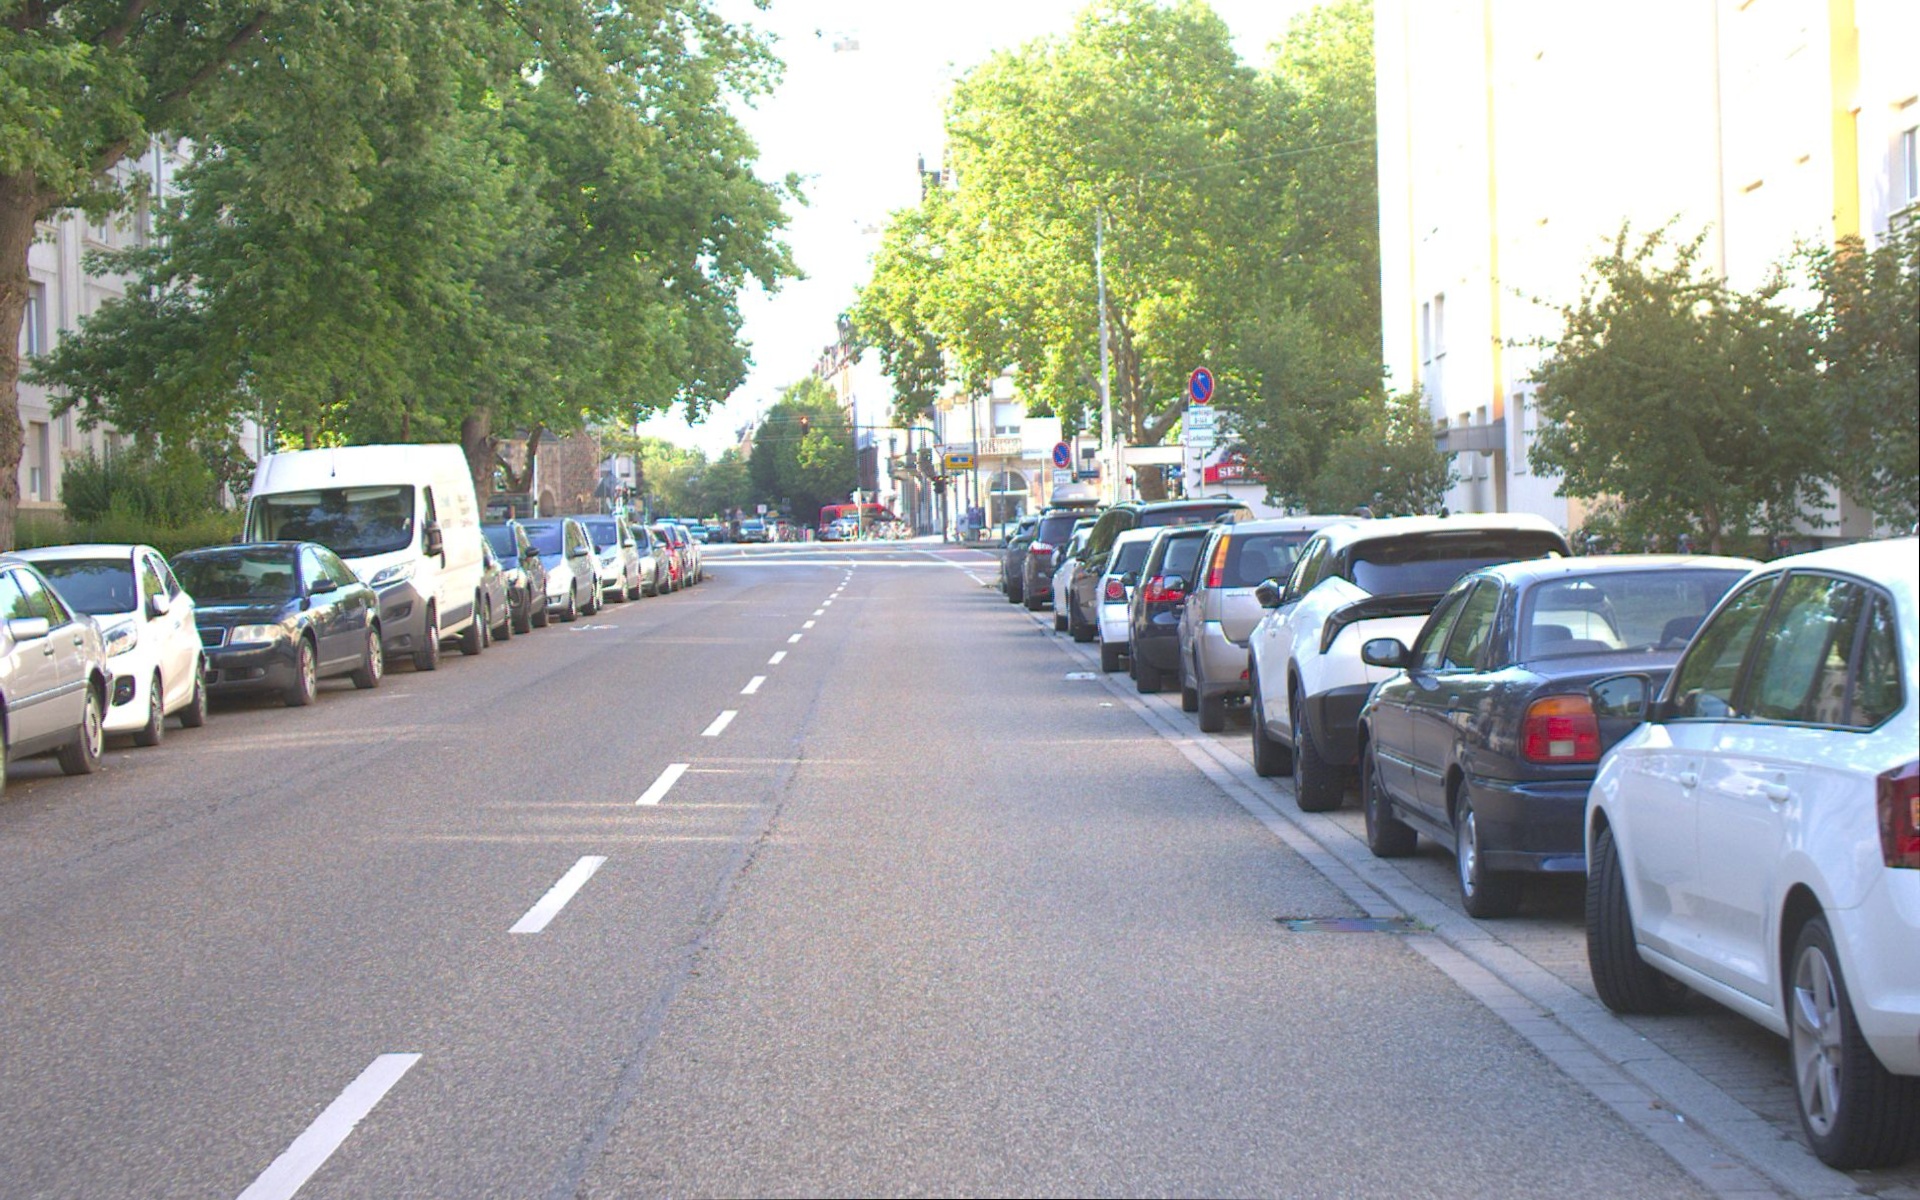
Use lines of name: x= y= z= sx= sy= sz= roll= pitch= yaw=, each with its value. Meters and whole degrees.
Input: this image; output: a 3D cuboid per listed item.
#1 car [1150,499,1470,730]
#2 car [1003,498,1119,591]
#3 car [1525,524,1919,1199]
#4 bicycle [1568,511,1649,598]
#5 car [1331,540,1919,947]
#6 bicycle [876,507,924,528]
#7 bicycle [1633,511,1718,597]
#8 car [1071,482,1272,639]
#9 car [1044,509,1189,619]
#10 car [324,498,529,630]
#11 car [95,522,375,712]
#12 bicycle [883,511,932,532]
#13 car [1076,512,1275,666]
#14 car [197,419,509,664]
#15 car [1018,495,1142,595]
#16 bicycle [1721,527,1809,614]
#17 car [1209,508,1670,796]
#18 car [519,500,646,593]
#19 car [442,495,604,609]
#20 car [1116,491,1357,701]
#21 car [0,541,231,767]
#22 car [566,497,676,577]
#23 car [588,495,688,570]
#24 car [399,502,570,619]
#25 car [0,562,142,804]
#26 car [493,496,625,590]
car: x=2.597 y=0.090 z=26.499 sx=1.962 sy=1.600 sz=4.279 roll=1 pitch=0 yaw=-1
car: x=1.859 y=-1.019 z=64.439 sx=1.927 sy=1.653 sz=4.678 roll=1 pitch=0 yaw=-1
car: x=2.795 y=0.512 z=9.238 sx=1.771 sy=1.449 sz=4.000 roll=-3 pitch=0 yaw=-1
bicycle: x=8.744 y=-0.628 z=46.452 sx=0.600 sy=1.078 sz=2.393 roll=-1 pitch=3 yaw=-1
car: x=2.669 y=0.503 z=14.490 sx=1.661 sy=1.433 sz=4.313 roll=1 pitch=0 yaw=-1
bicycle: x=-3.576 y=-4.898 z=204.767 sx=2.802 sy=1.199 sz=0.517 roll=1 pitch=0 yaw=-8
bicycle: x=9.658 y=-0.633 z=46.455 sx=0.600 sy=1.078 sz=2.393 roll=-1 pitch=3 yaw=-1
car: x=2.478 y=-0.462 z=41.468 sx=2.024 sy=1.744 sz=4.767 roll=1 pitch=0 yaw=-1
car: x=2.093 y=-0.484 z=47.094 sx=1.679 sy=1.410 sz=4.724 roll=1 pitch=0 yaw=-1
car: x=-6.688 y=-0.441 z=43.507 sx=1.957 sy=1.553 sz=4.346 roll=1 pitch=0 yaw=-1
car: x=-6.413 y=0.129 z=30.790 sx=1.707 sy=1.568 sz=3.819 roll=1 pitch=0 yaw=-1
bicycle: x=-3.112 y=-4.640 z=203.094 sx=2.802 sy=1.199 sz=0.510 roll=1 pitch=0 yaw=-7
car: x=2.215 y=-0.119 z=36.231 sx=1.837 sy=1.496 sz=4.172 roll=1 pitch=0 yaw=0
car: x=-6.546 y=-0.611 z=37.848 sx=2.358 sy=2.437 sz=6.165 roll=1 pitch=0 yaw=-1
car: x=2.042 y=-0.972 z=59.543 sx=1.897 sy=1.645 sz=4.343 roll=-1 pitch=1 yaw=-1
bicycle: x=10.911 y=-0.415 z=46.665 sx=0.600 sy=1.078 sz=2.393 roll=-1 pitch=3 yaw=-1
car: x=2.593 y=0.254 z=19.528 sx=1.873 sy=1.437 sz=4.000 roll=1 pitch=0 yaw=-2
car: x=-7.146 y=-0.999 z=65.471 sx=1.916 sy=1.672 sz=4.974 roll=1 pitch=0 yaw=-1
car: x=-6.831 y=-0.794 z=54.214 sx=1.871 sy=1.553 sz=5.057 roll=-5 pitch=2 yaw=-1
car: x=2.466 y=-0.042 z=31.513 sx=1.837 sy=1.766 sz=3.978 roll=1 pitch=0 yaw=0
car: x=-6.608 y=0.368 z=25.564 sx=1.707 sy=1.568 sz=3.261 roll=0 pitch=0 yaw=-1
car: x=-6.903 y=-1.262 z=70.371 sx=1.870 sy=1.553 sz=4.497 roll=1 pitch=0 yaw=-1
car: x=-7.050 y=-1.470 z=75.646 sx=1.870 sy=1.553 sz=4.000 roll=1 pitch=0 yaw=-1
car: x=-6.694 y=-0.543 z=48.785 sx=1.870 sy=1.553 sz=4.366 roll=1 pitch=0 yaw=-1
car: x=-6.363 y=0.436 z=20.812 sx=1.873 sy=1.351 sz=4.654 roll=1 pitch=0 yaw=-2
car: x=-7.007 y=-0.983 z=60.439 sx=1.870 sy=1.553 sz=4.101 roll=1 pitch=0 yaw=-1
